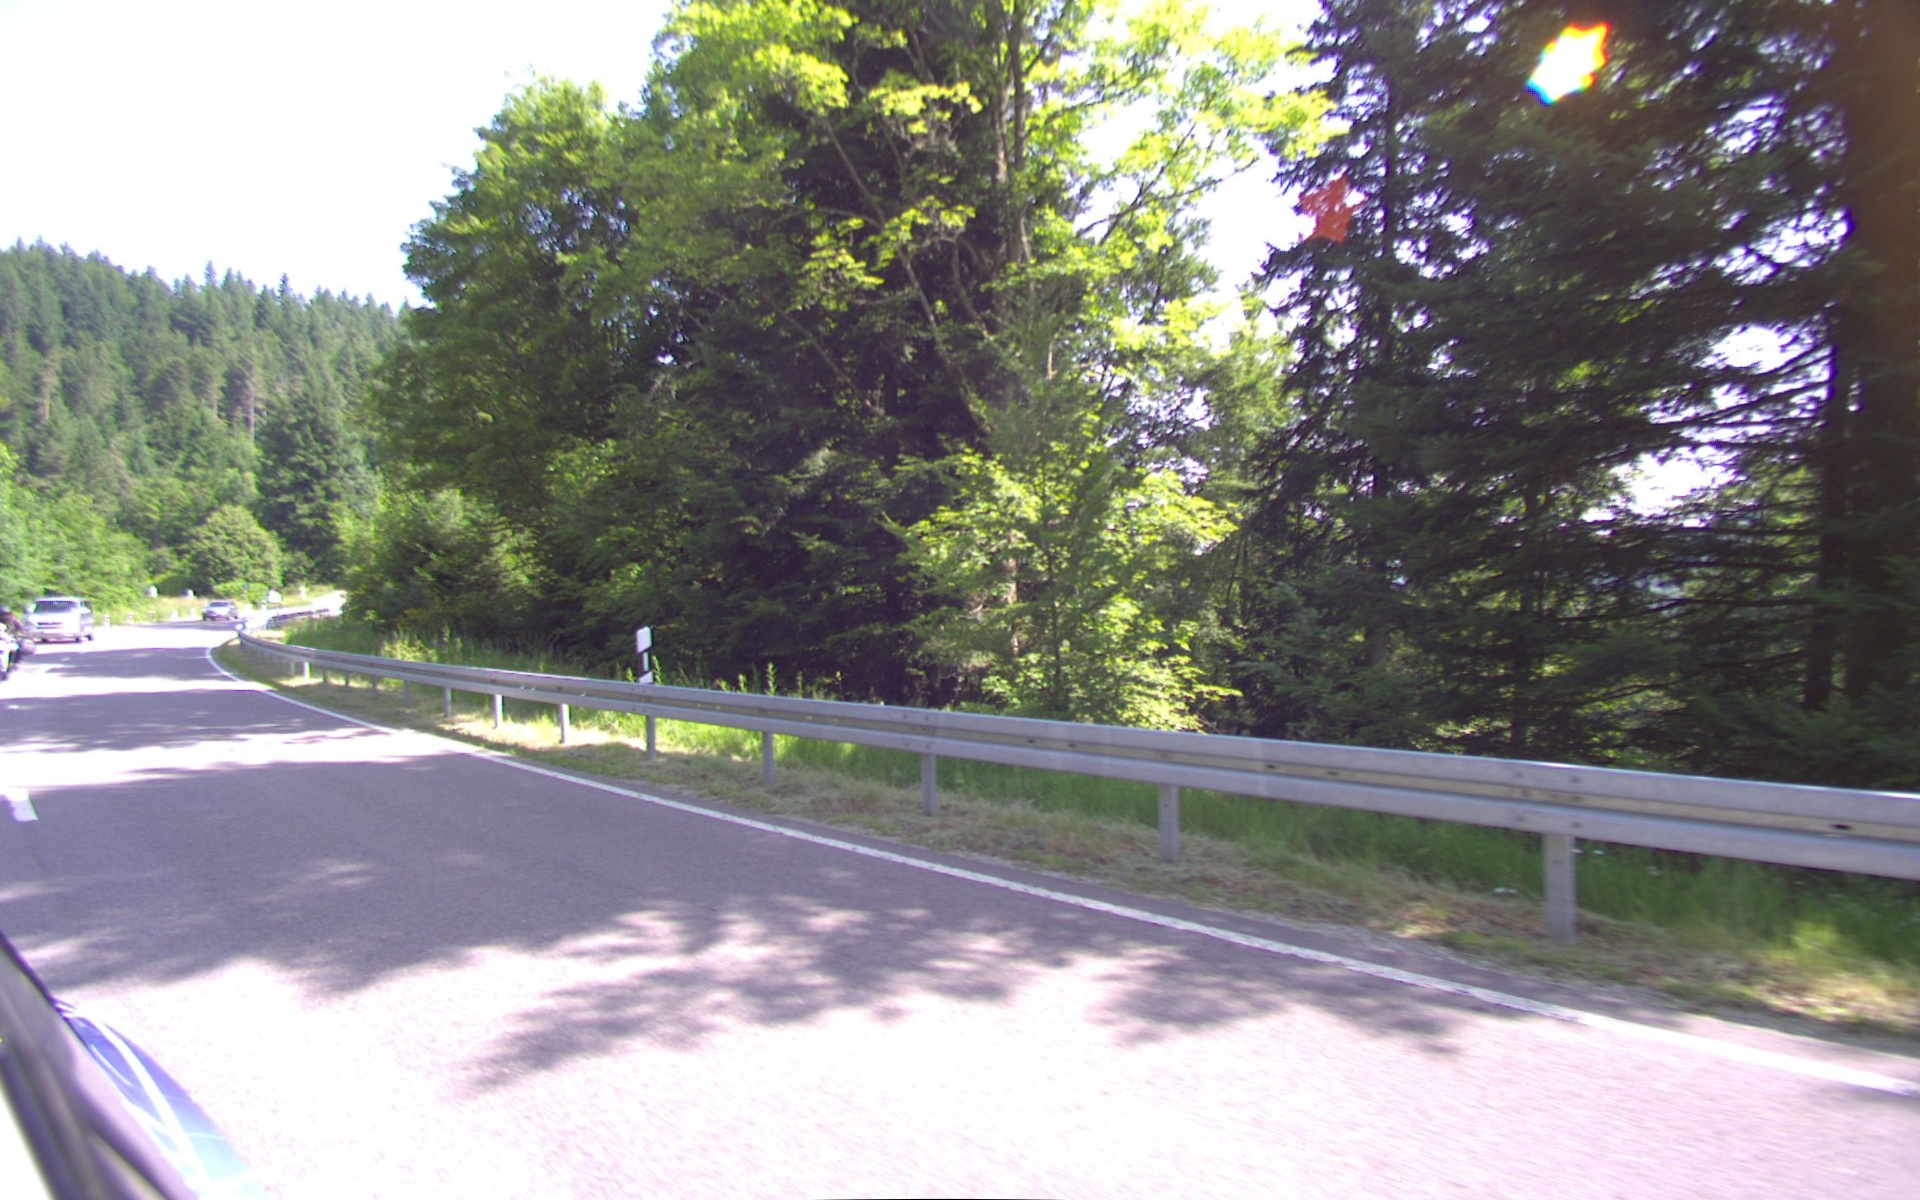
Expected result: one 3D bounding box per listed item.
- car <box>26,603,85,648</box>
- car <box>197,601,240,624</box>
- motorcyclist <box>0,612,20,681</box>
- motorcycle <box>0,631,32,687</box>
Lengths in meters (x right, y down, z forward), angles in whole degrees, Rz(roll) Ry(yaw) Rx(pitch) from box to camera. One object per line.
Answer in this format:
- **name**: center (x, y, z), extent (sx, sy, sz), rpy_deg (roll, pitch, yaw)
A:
- **car**: center (-38.037, 1.047, 42.629), extent (1.628, 1.773, 3.802), rpy_deg (1, 0, -39)
- **car**: center (-55.542, 0.916, 75.824), extent (1.965, 1.655, 4.013), rpy_deg (-1, 1, -27)
- **motorcyclist**: center (-20.507, 0.985, 21.521), extent (0.706, 1.441, 1.000), rpy_deg (-2, 1, -42)
- **motorcycle**: center (-20.512, 1.249, 21.541), extent (1.093, 1.132, 1.963), rpy_deg (0, -1, -42)
